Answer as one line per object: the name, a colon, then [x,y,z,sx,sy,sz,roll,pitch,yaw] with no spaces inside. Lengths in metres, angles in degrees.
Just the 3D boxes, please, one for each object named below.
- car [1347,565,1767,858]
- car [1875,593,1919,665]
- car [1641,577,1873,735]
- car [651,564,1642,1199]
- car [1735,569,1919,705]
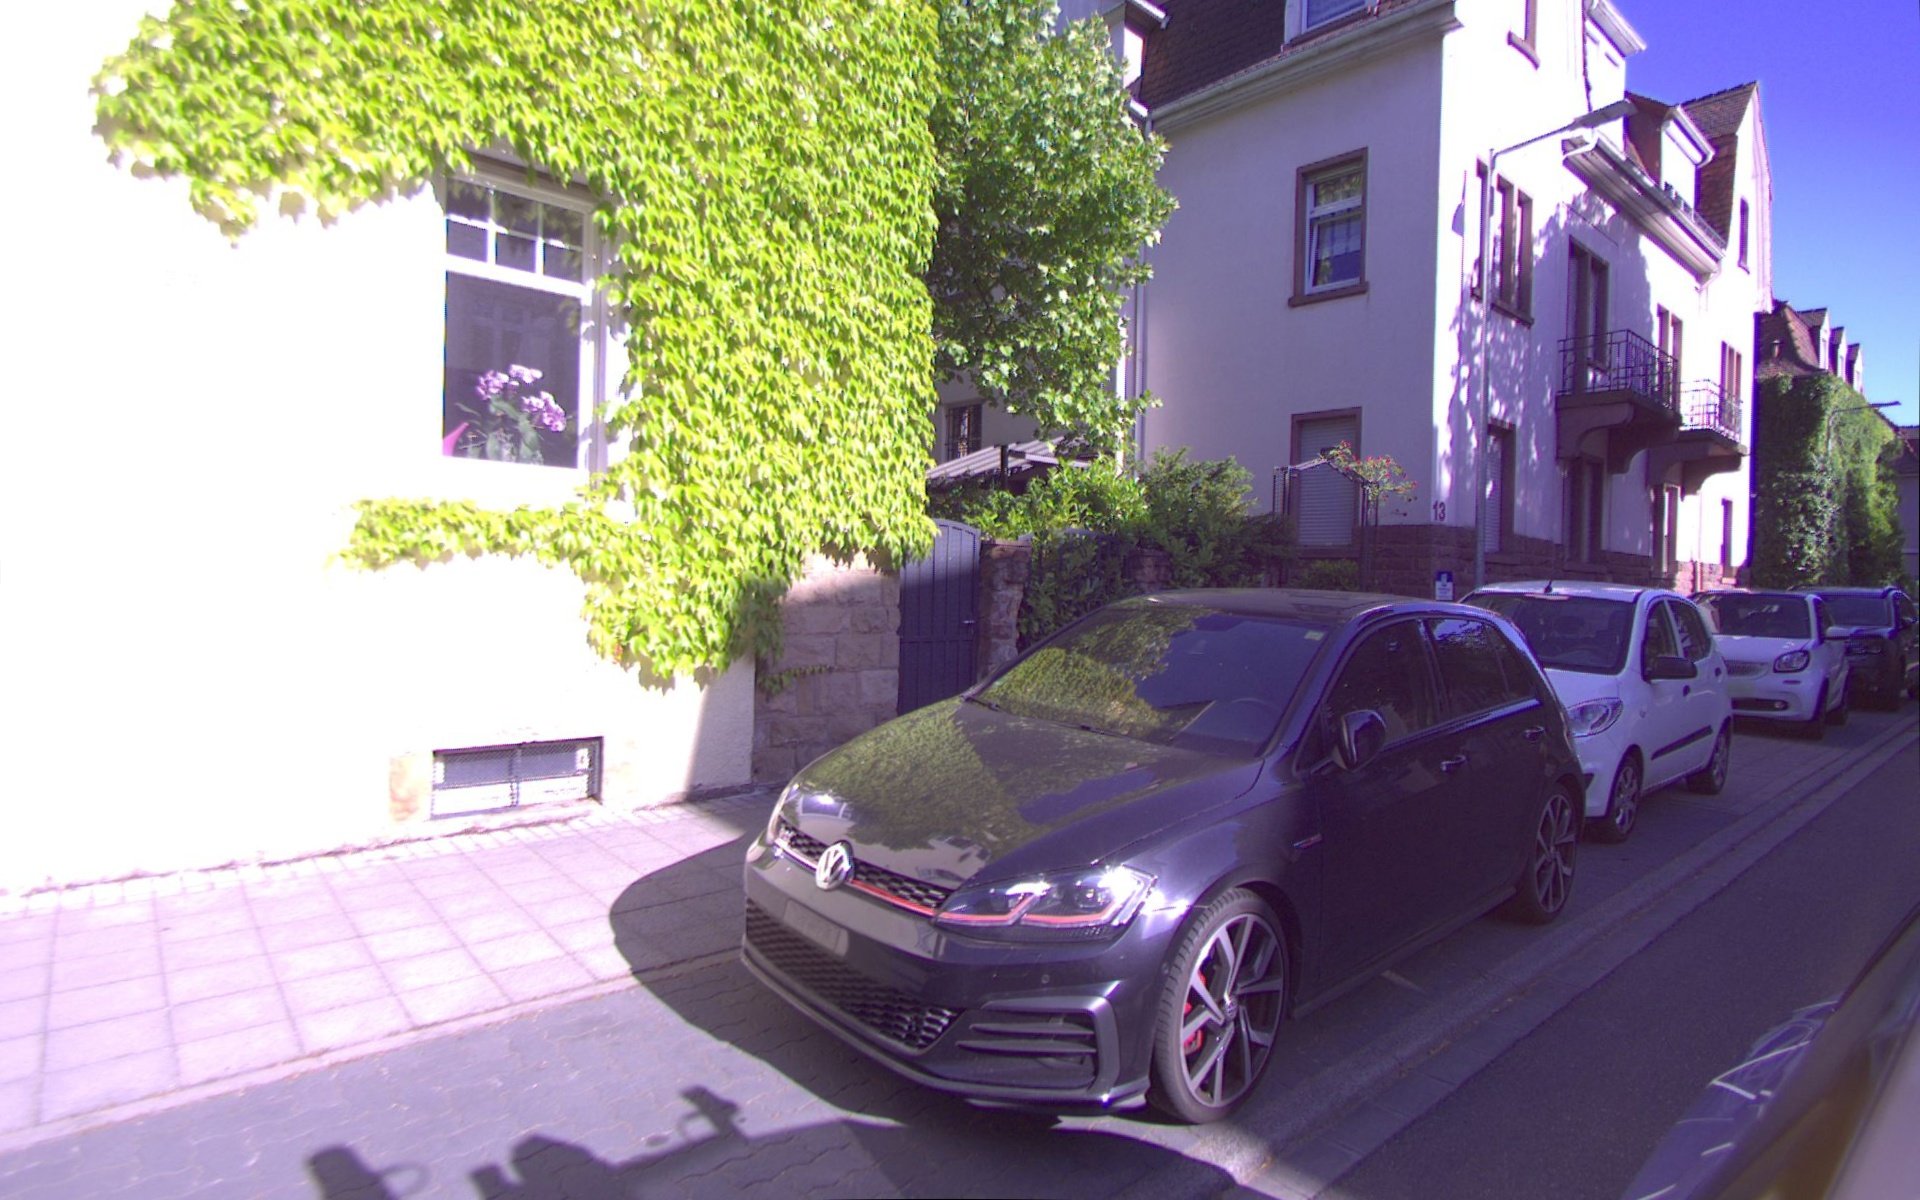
car: [4.371,0.553,7.229,3.409,1.568,1.578,-1,3,-42]
car: [21.276,0.593,21.955,4.425,1.472,1.646,0,1,-42]
car: [9.217,0.532,11.659,2.820,1.568,1.627,-1,1,-41]
car: [1.084,0.618,4.056,4.121,1.453,1.713,-2,4,-42]
car: [12.990,0.431,14.796,4.245,1.717,1.781,-1,0,-41]
